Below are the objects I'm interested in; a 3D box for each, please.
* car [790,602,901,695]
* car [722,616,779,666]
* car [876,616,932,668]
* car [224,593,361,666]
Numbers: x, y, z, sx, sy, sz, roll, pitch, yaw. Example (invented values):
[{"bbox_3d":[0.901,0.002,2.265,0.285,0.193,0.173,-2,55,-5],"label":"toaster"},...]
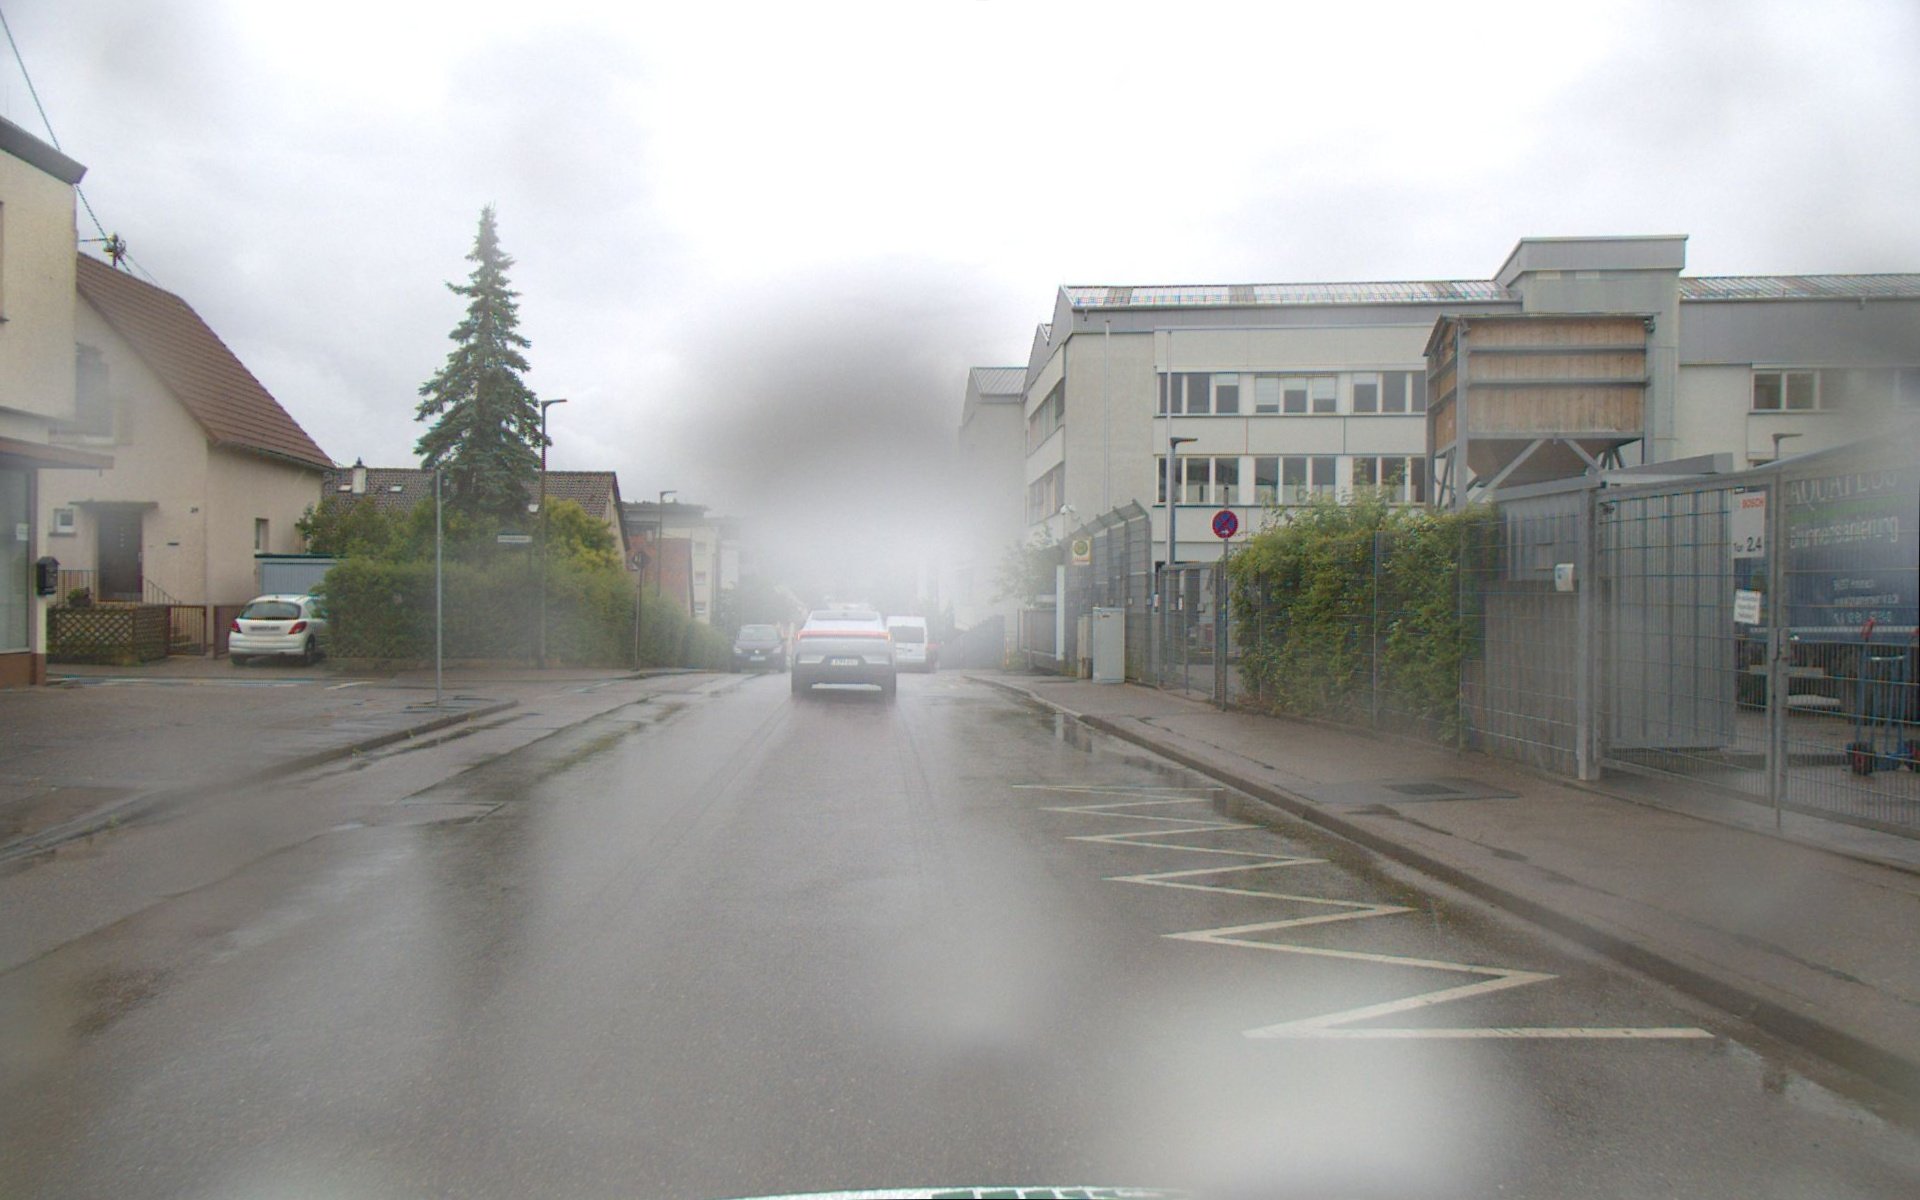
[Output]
[{"bbox_3d":[-2.116,0.866,31.727,1.953,1.528,4.668,1,1,-2],"label":"car"},{"bbox_3d":[-6.741,1.304,53.450,1.643,1.554,3.996,0,-1,-5],"label":"car"},{"bbox_3d":[-2.363,1.769,68.688,1.956,2.049,3.993,-1,-2,-7],"label":"car"},{"bbox_3d":[-15.299,0.634,38.114,1.759,1.534,3.997,0,1,-4],"label":"car"}]
